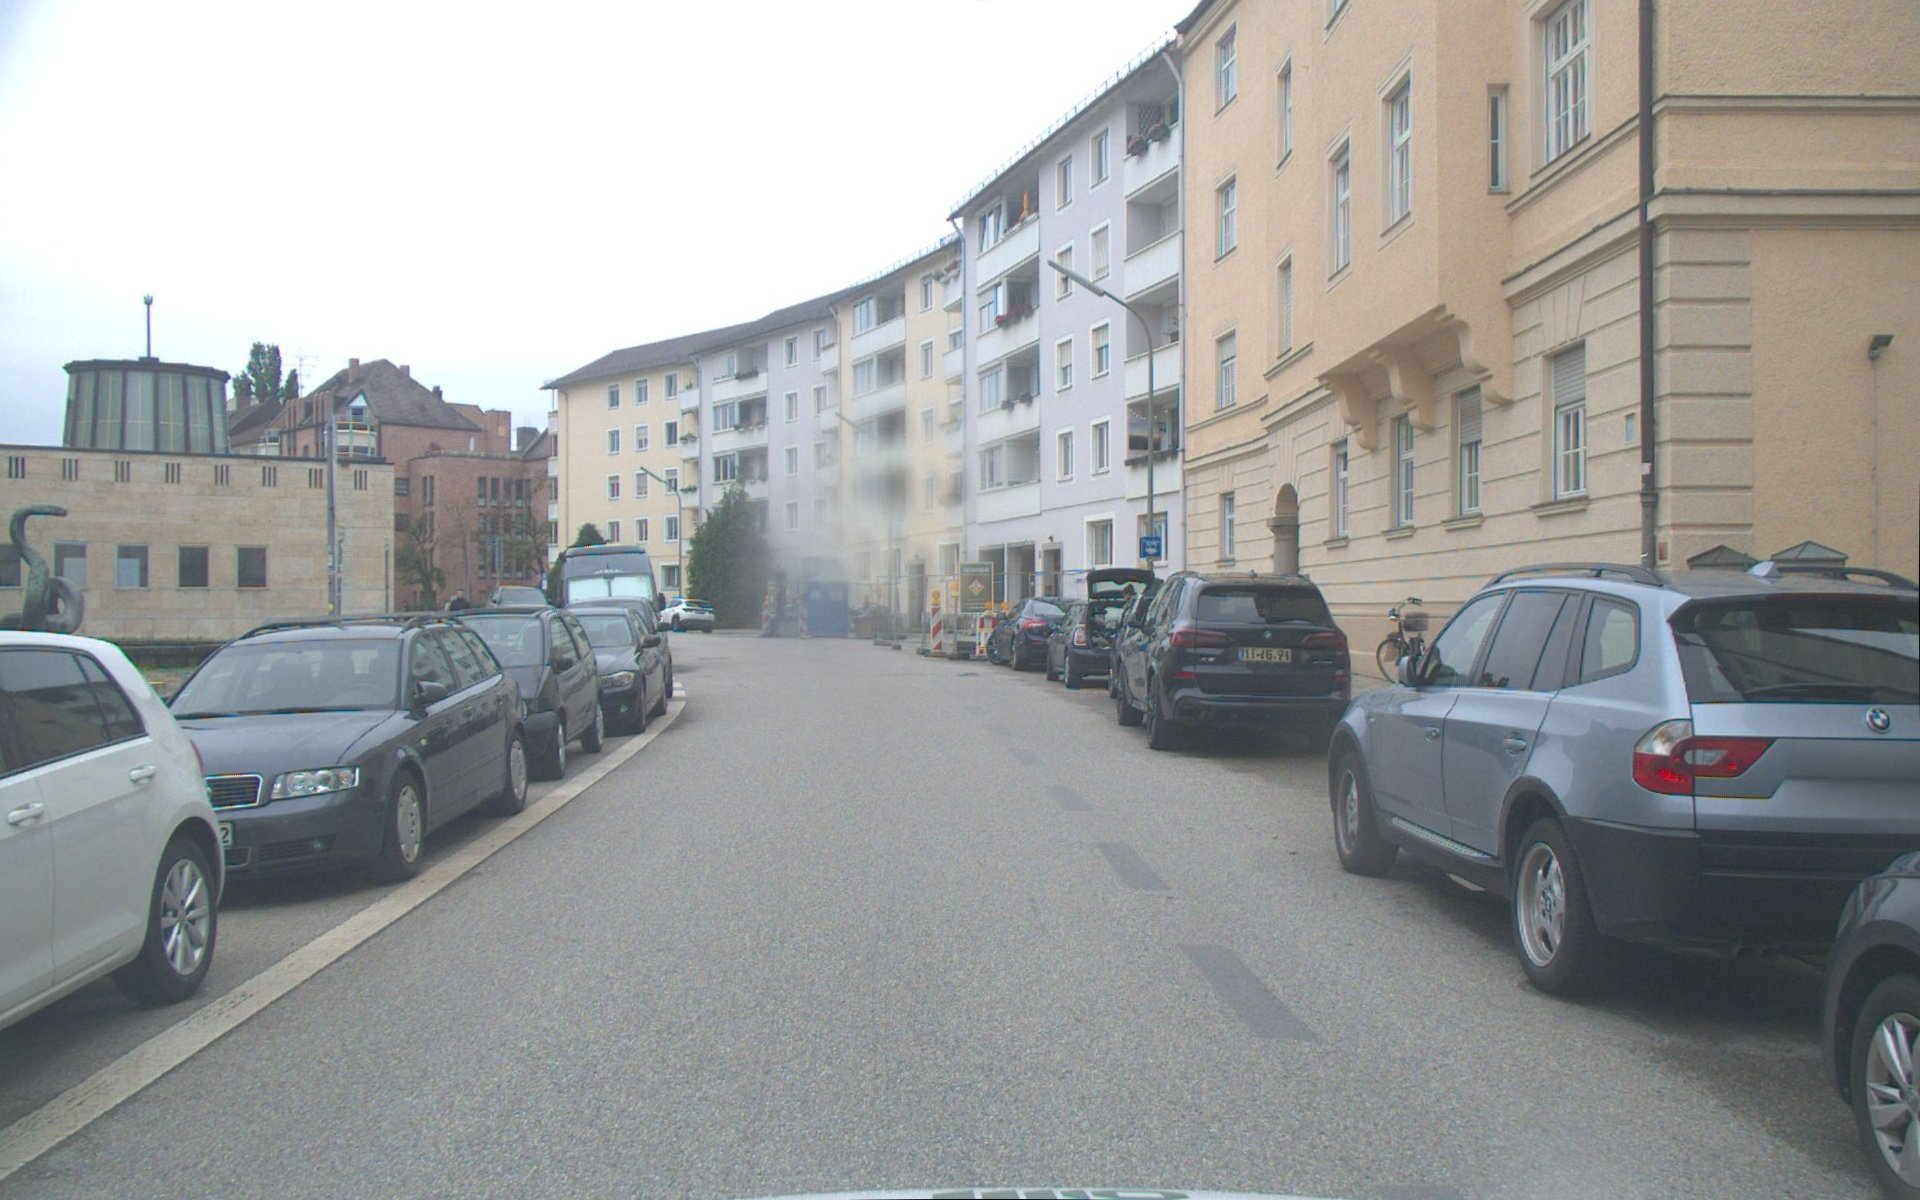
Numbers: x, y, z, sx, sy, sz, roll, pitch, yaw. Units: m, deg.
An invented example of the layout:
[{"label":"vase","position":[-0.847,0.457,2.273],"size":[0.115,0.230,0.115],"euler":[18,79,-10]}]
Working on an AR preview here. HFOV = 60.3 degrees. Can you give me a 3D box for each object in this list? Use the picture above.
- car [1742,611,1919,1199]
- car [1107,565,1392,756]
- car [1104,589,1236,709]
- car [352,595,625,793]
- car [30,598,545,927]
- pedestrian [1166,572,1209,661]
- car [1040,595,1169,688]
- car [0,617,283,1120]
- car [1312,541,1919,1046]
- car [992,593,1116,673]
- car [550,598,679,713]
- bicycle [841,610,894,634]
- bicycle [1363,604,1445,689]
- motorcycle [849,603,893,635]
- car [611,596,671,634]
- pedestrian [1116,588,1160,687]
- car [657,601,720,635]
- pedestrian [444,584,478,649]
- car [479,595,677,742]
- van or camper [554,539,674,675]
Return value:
[{"label":"car","position":[3.289,0.797,2.946],"size":[1.790,1.475,4.083],"euler":[1,0,-1]},{"label":"car","position":[2.942,0.554,18.016],"size":[2.126,1.769,5.023],"euler":[1,0,-1]},{"label":"car","position":[2.940,0.645,23.622],"size":[1.483,1.582,3.018],"euler":[1,0,0]},{"label":"car","position":[-4.177,0.752,15.195],"size":[1.598,1.520,3.601],"euler":[-2,0,-3]},{"label":"car","position":[-3.824,0.787,10.243],"size":[1.598,1.520,4.272],"euler":[-2,0,-3]},{"label":"pedestrian","position":[4.527,0.327,32.946],"size":[0.605,1.719,0.919],"euler":[-3,0,-1]},{"label":"car","position":[2.396,0.657,28.213],"size":[1.599,1.442,3.676],"euler":[1,0,-4]},{"label":"car","position":[-3.710,0.848,4.961],"size":[1.706,1.447,4.292],"euler":[-3,0,-3]},{"label":"car","position":[3.141,0.652,7.842],"size":[1.809,1.692,4.496],"euler":[0,0,-3]},{"label":"car","position":[1.868,0.627,34.467],"size":[1.871,1.503,4.941],"euler":[1,0,-5]},{"label":"car","position":[-4.967,0.753,24.059],"size":[1.490,1.491,2.883],"euler":[-2,0,-6]},{"label":"bicycle","position":[-4.166,0.983,74.702],"size":[2.204,1.088,0.912],"euler":[0,0,-26]},{"label":"bicycle","position":[6.034,0.610,22.582],"size":[0.491,1.067,2.138],"euler":[-3,0,0]},{"label":"motorcycle","position":[-3.606,0.762,66.697],"size":[0.920,1.242,2.487],"euler":[0,0,-25]},{"label":"car","position":[-13.283,0.632,68.661],"size":[1.890,1.436,4.681],"euler":[-3,0,-17]},{"label":"pedestrian","position":[2.847,0.589,26.476],"size":[0.616,1.555,0.578],"euler":[1,0,-3]},{"label":"car","position":[-13.136,0.873,79.851],"size":[1.810,1.601,3.963],"euler":[0,0,-28]},{"label":"pedestrian","position":[-14.679,0.477,48.641],"size":[0.833,1.899,0.707],"euler":[1,0,-30]},{"label":"car","position":[-4.487,0.730,20.020],"size":[1.740,1.491,4.460],"euler":[-2,0,-6]},{"label":"van or camper","position":[-7.412,0.120,35.246],"size":[2.257,2.626,6.066],"euler":[1,0,-13]}]
